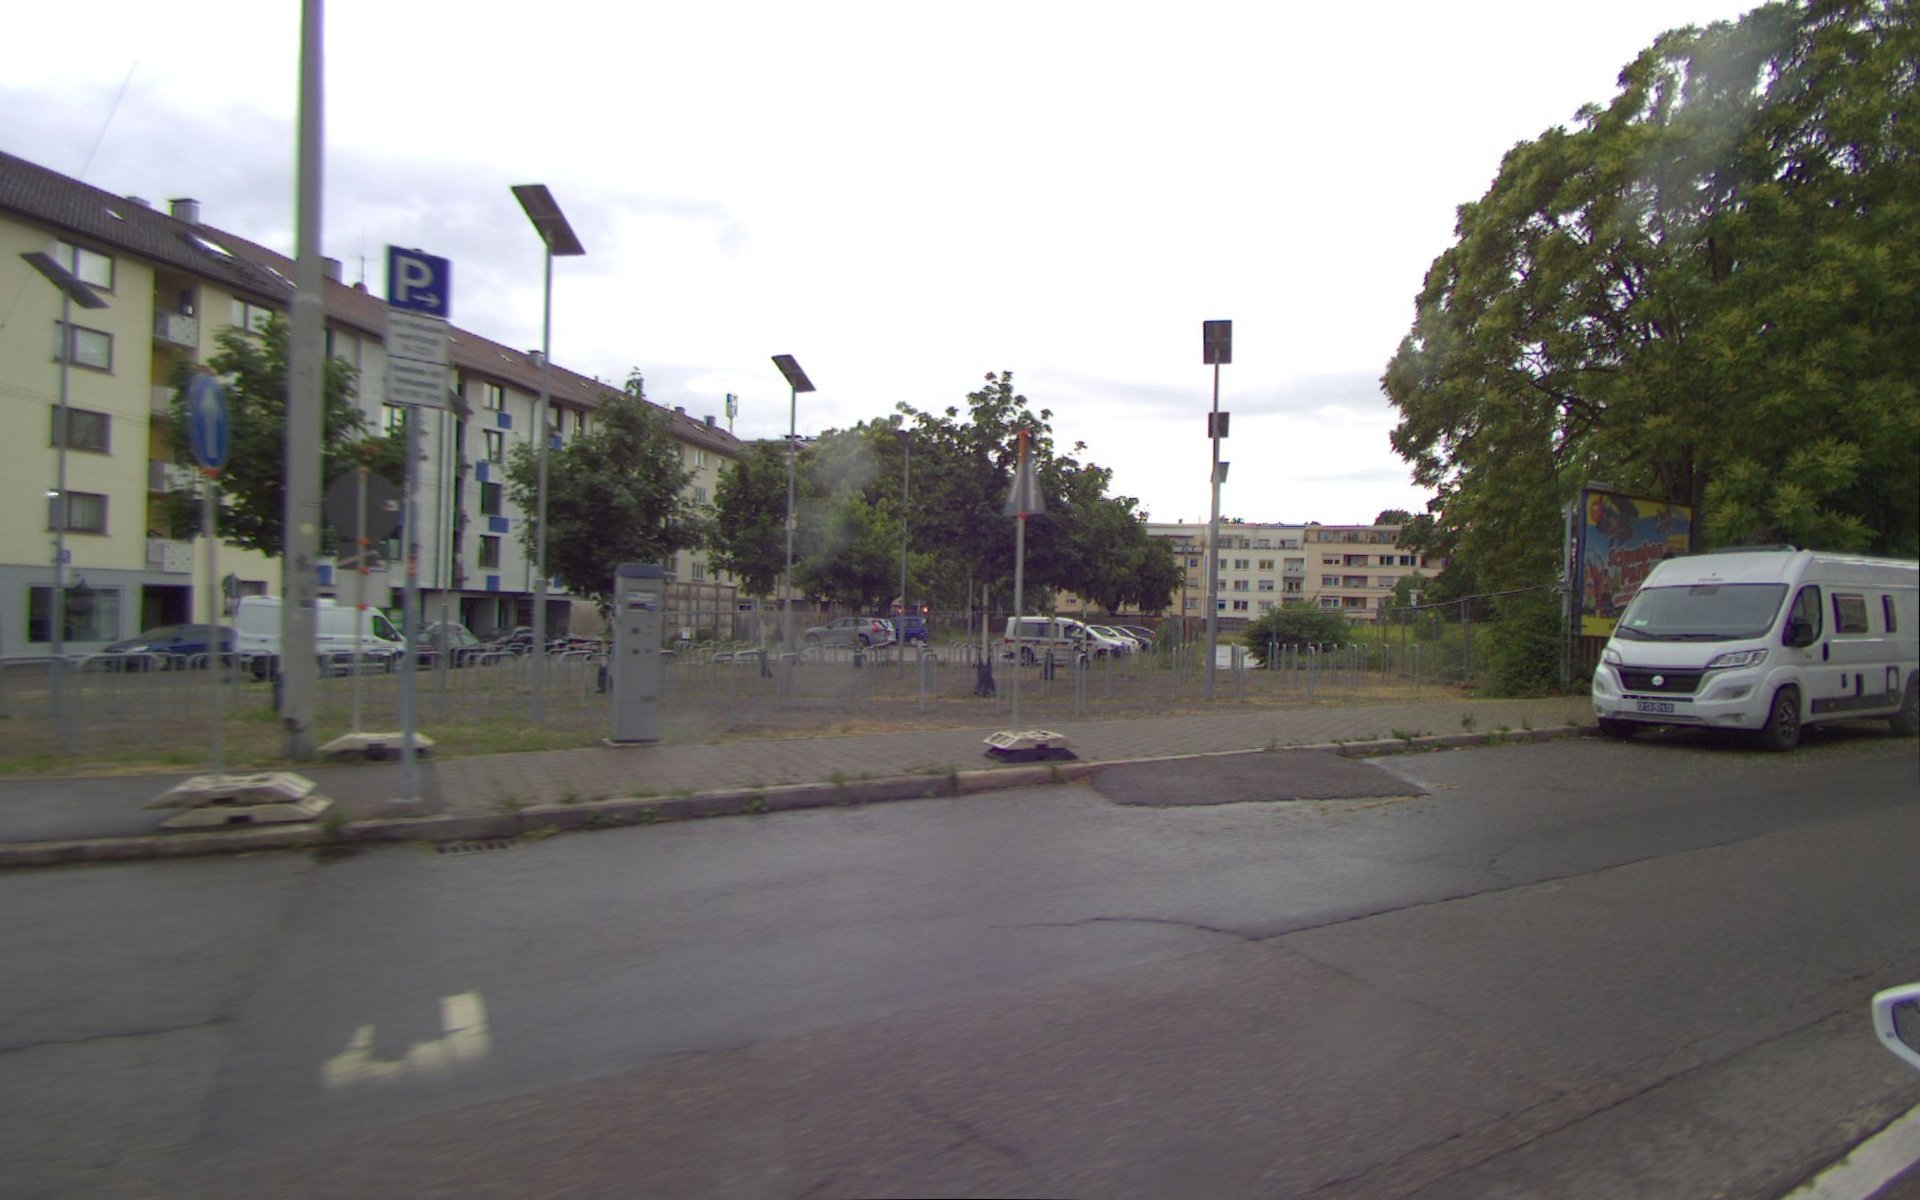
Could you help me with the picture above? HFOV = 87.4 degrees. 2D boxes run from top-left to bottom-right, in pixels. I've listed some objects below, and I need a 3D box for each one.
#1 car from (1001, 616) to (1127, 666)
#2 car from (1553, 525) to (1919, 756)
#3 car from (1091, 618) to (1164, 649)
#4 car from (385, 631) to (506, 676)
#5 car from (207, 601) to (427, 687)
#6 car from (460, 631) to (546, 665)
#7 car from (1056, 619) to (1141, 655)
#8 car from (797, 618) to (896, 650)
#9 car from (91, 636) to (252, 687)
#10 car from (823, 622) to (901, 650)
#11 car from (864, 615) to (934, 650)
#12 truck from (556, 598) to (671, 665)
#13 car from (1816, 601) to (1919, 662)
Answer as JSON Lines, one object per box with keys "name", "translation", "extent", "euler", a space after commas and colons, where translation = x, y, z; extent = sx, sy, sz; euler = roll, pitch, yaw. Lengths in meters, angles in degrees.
{"name": "car", "translation": [3.998, 1.531, 38.460], "extent": [4.597, 1.858, 2.001], "euler": [0, -1, 12]}
{"name": "car", "translation": [11.189, 0.495, 13.991], "extent": [6.461, 2.613, 2.219], "euler": [0, -1, -31]}
{"name": "car", "translation": [9.245, 1.829, 55.376], "extent": [3.919, 1.647, 1.801], "euler": [0, -1, 12]}
{"name": "car", "translation": [-18.876, 1.937, 37.075], "extent": [1.764, 1.530, 4.002], "euler": [-2, -2, 14]}
{"name": "car", "translation": [-20.213, 1.370, 31.994], "extent": [2.620, 2.445, 5.737], "euler": [-2, -2, 12]}
{"name": "car", "translation": [-22.220, 2.334, 49.007], "extent": [1.764, 1.530, 4.003], "euler": [-2, -2, 13]}
{"name": "car", "translation": [6.672, 1.747, 48.153], "extent": [3.919, 1.647, 1.801], "euler": [0, -1, 12]}
{"name": "car", "translation": [-6.078, 1.823, 53.753], "extent": [4.806, 1.647, 2.127], "euler": [0, -3, 15]}
{"name": "car", "translation": [-26.203, 2.000, 33.543], "extent": [1.764, 1.530, 4.003], "euler": [-2, -2, 13]}
{"name": "car", "translation": [-5.486, 2.002, 56.322], "extent": [3.919, 1.530, 1.801], "euler": [0, -3, 15]}
{"name": "car", "translation": [-3.724, 1.997, 61.615], "extent": [3.919, 2.079, 1.801], "euler": [0, -3, 15]}
{"name": "truck", "translation": [-16.374, 1.500, 47.780], "extent": [2.724, 2.970, 5.293], "euler": [-2, -2, 13]}
{"name": "car", "translation": [32.805, 1.066, 33.995], "extent": [2.122, 2.036, 5.471], "euler": [0, -1, -31]}
